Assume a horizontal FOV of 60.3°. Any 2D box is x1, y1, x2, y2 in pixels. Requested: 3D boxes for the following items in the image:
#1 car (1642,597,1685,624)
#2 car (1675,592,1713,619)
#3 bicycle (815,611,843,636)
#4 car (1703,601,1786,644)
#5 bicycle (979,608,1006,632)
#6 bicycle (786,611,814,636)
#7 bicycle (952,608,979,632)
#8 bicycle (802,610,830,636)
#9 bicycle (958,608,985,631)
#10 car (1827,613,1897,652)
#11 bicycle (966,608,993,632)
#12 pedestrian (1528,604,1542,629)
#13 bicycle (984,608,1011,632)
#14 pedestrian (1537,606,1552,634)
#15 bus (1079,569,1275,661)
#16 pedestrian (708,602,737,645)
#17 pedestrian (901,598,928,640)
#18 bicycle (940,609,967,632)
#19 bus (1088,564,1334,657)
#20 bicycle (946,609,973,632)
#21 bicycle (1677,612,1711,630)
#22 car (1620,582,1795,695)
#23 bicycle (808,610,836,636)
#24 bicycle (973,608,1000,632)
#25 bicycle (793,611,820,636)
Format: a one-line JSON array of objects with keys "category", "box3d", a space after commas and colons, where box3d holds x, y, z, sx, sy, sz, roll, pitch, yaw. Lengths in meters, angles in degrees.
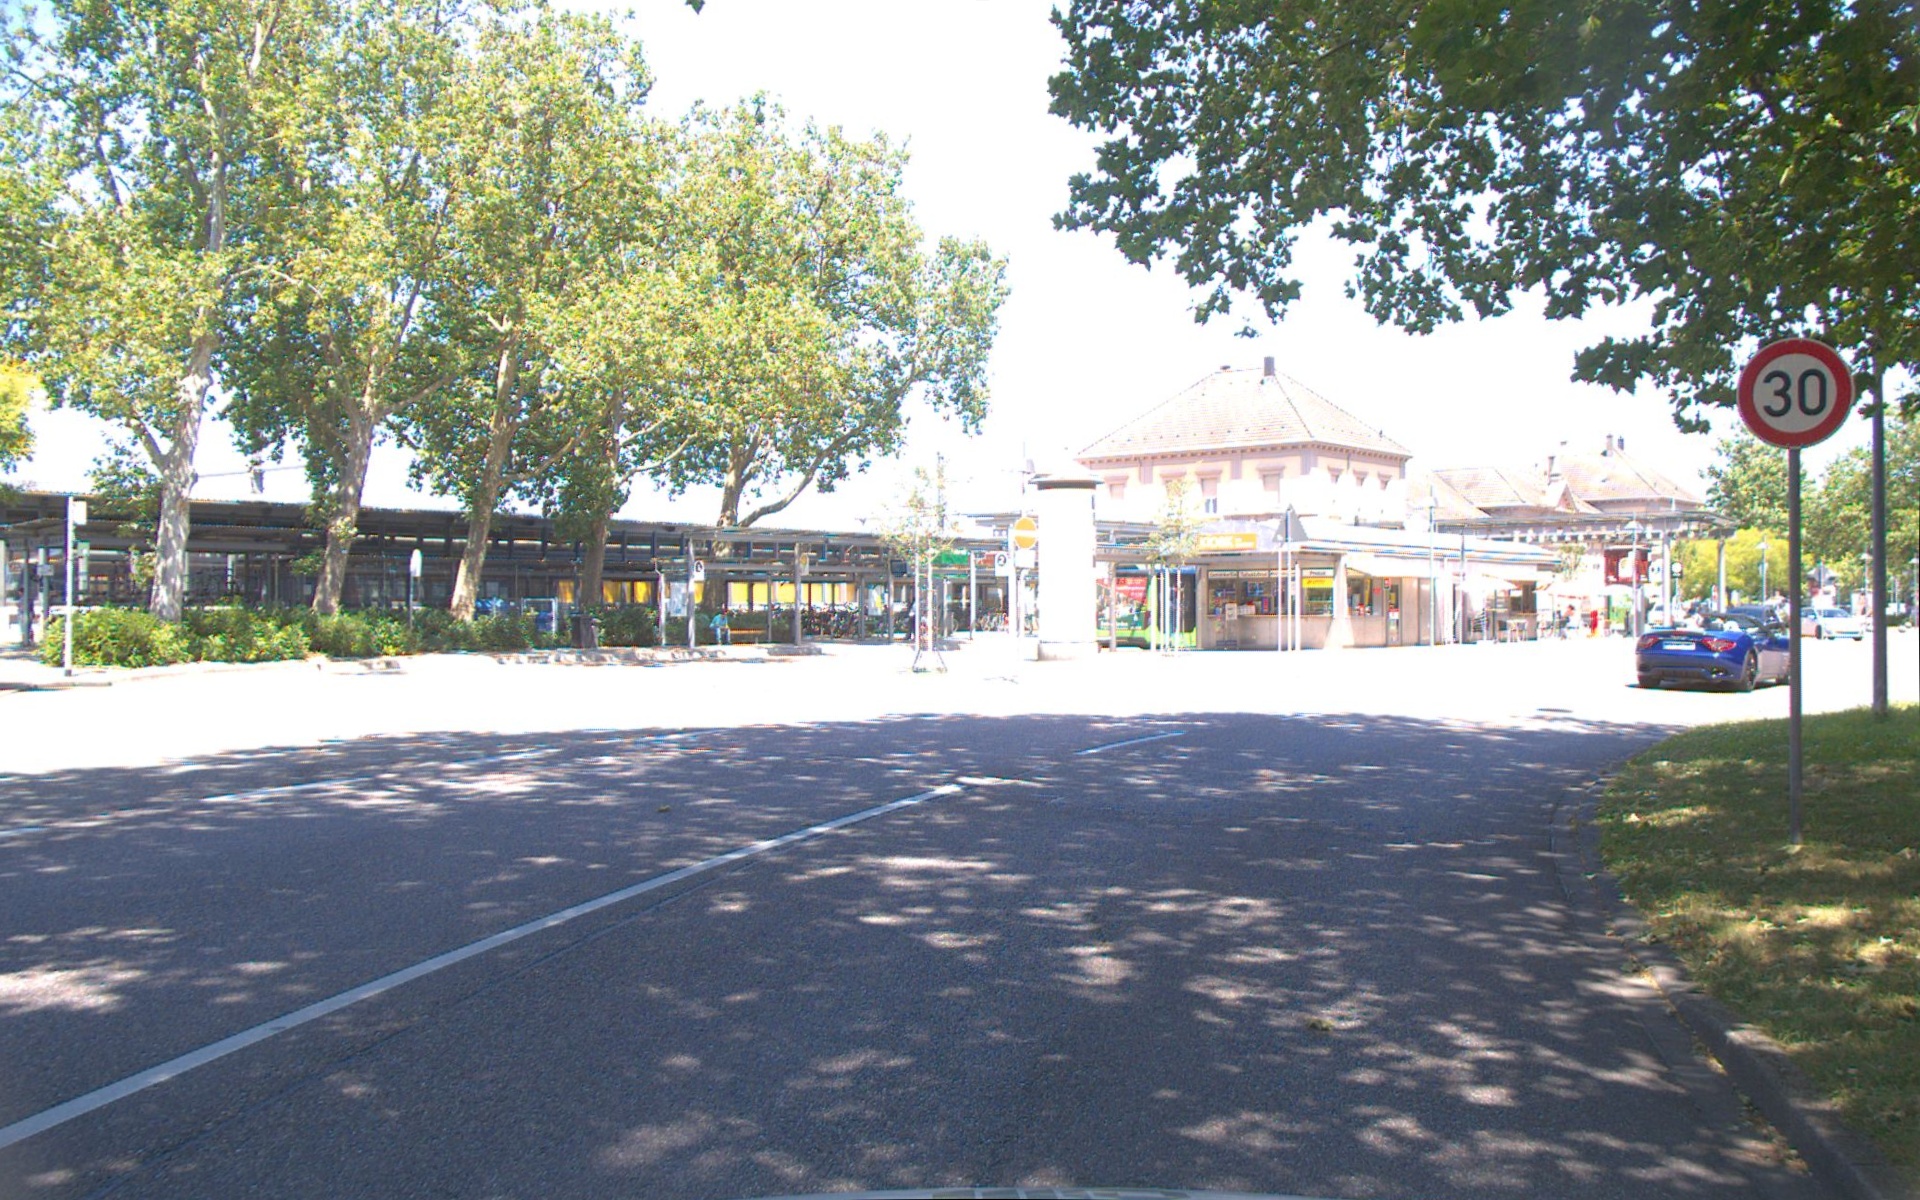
[{"category": "car", "box3d": [53.912, 0.785, 126.679, 1.724, 1.951, 4.751, -1, 0, 39]}, {"category": "car", "box3d": [58.624, 0.447, 132.106, 1.961, 2.049, 3.984, -1, 1, 37]}, {"category": "bicycle", "box3d": [-5.741, 1.037, 72.598, 1.361, 1.113, 0.384, -1, -3, 42]}, {"category": "car", "box3d": [28.531, 0.810, 60.102, 1.691, 1.504, 4.763, -1, -1, 38]}, {"category": "bicycle", "box3d": [1.524, 0.952, 78.696, 1.361, 1.113, 0.384, -1, -1, 42]}, {"category": "bicycle", "box3d": [-7.082, 1.041, 73.237, 1.361, 1.113, 0.384, -1, -3, 42]}, {"category": "bicycle", "box3d": [0.265, 0.963, 79.807, 1.361, 1.113, 0.384, -1, -1, 42]}, {"category": "bicycle", "box3d": [-6.262, 1.010, 71.965, 1.361, 1.113, 0.384, -1, -3, 42]}, {"category": "bicycle", "box3d": [0.550, 0.964, 80.140, 1.361, 1.113, 0.384, -1, -1, 42]}, {"category": "car", "box3d": [39.029, 1.390, 71.538, 1.787, 1.469, 4.136, -5, -3, 40]}, {"category": "bicycle", "box3d": [0.931, 0.960, 77.984, 1.380, 1.119, 0.365, -1, -1, 42]}, {"category": "pedestrian", "box3d": [23.651, 0.685, 68.058, 0.368, 0.989, 0.420, 2, -3, -37]}, {"category": "bicycle", "box3d": [1.796, 0.943, 79.022, 1.361, 1.113, 0.384, -1, 0, 42]}, {"category": "pedestrian", "box3d": [35.929, 1.231, 101.676, 0.642, 1.703, 0.630, 1, -2, -6]}, {"category": "bus", "box3d": [9.417, 0.583, 70.067, 2.129, 3.588, 12.159, 0, 0, 40]}, {"category": "pedestrian", "box3d": [-8.294, 0.804, 57.838, 0.595, 1.489, 0.818, -1, -1, 37]}, {"category": "pedestrian", "box3d": [-1.802, 0.733, 65.377, 0.802, 1.646, 0.768, 0, -1, 21]}, {"category": "bicycle", "box3d": [-0.315, 0.977, 79.153, 1.361, 1.113, 0.384, -1, -1, 42]}, {"category": "bus", "box3d": [9.630, 0.416, 61.303, 2.632, 3.094, 13.828, -1, -1, 38]}, {"category": "bicycle", "box3d": [-0.018, 0.973, 79.494, 1.360, 1.113, 0.384, -1, -1, 42]}, {"category": "bicycle", "box3d": [42.429, 1.198, 95.661, 1.755, 1.049, 0.489, 0, -1, 17]}, {"category": "car", "box3d": [13.525, 0.646, 29.807, 2.090, 1.881, 4.032, 0, 0, 36]}, {"category": "bicycle", "box3d": [-6.016, 1.024, 72.290, 1.361, 1.113, 0.384, -1, -3, 42]}, {"category": "bicycle", "box3d": [1.242, 0.964, 78.362, 1.361, 1.113, 0.384, -1, -1, 42]}, {"category": "bicycle", "box3d": [-6.823, 1.055, 73.576, 1.361, 1.113, 0.384, -1, -3, 42]}]
